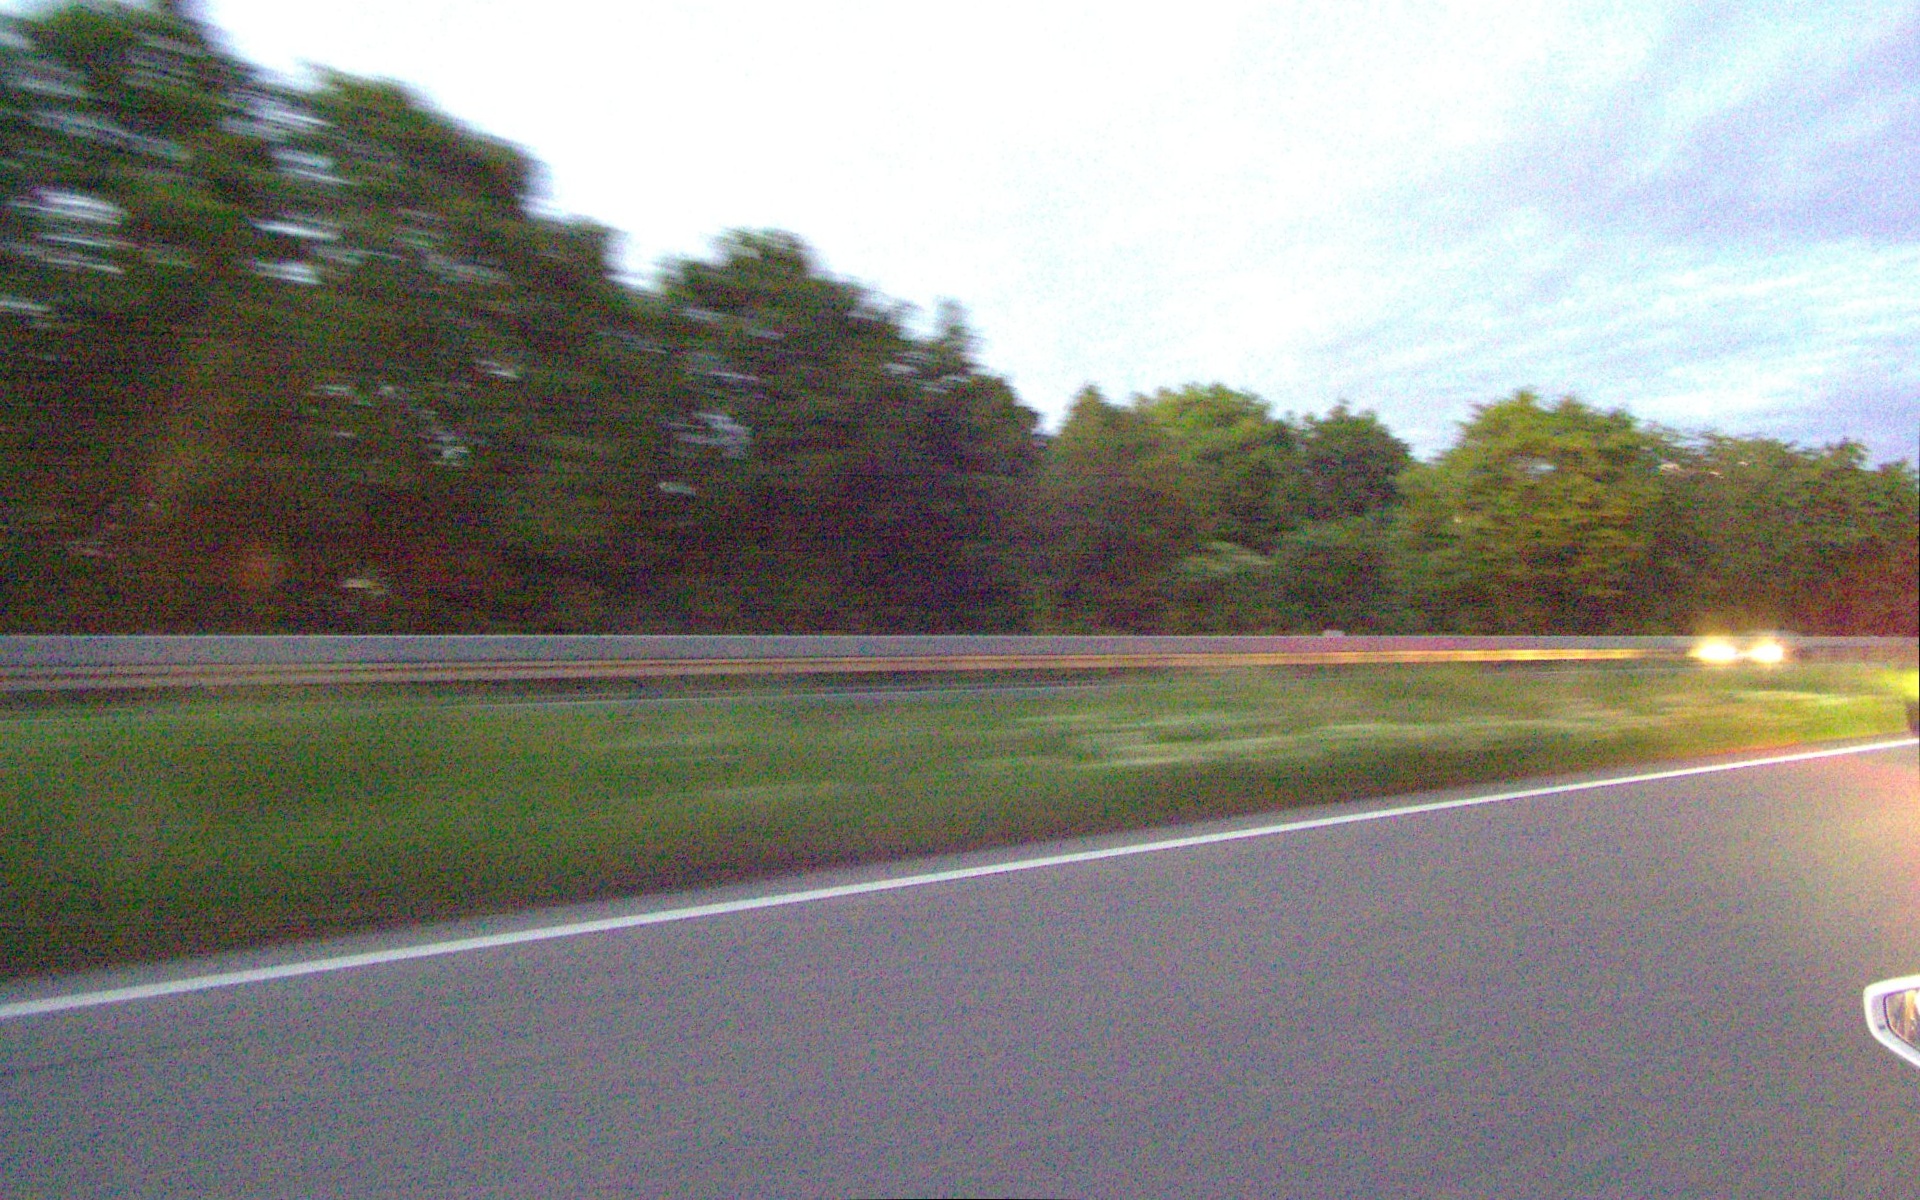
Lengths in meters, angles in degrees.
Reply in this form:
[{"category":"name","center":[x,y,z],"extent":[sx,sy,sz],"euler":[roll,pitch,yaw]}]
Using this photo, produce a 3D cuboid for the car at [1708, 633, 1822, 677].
[{"category":"car","center":[26.973,1.818,33.640],"extent":[3.892,1.340,1.622],"euler":[1,0,-29]}]
